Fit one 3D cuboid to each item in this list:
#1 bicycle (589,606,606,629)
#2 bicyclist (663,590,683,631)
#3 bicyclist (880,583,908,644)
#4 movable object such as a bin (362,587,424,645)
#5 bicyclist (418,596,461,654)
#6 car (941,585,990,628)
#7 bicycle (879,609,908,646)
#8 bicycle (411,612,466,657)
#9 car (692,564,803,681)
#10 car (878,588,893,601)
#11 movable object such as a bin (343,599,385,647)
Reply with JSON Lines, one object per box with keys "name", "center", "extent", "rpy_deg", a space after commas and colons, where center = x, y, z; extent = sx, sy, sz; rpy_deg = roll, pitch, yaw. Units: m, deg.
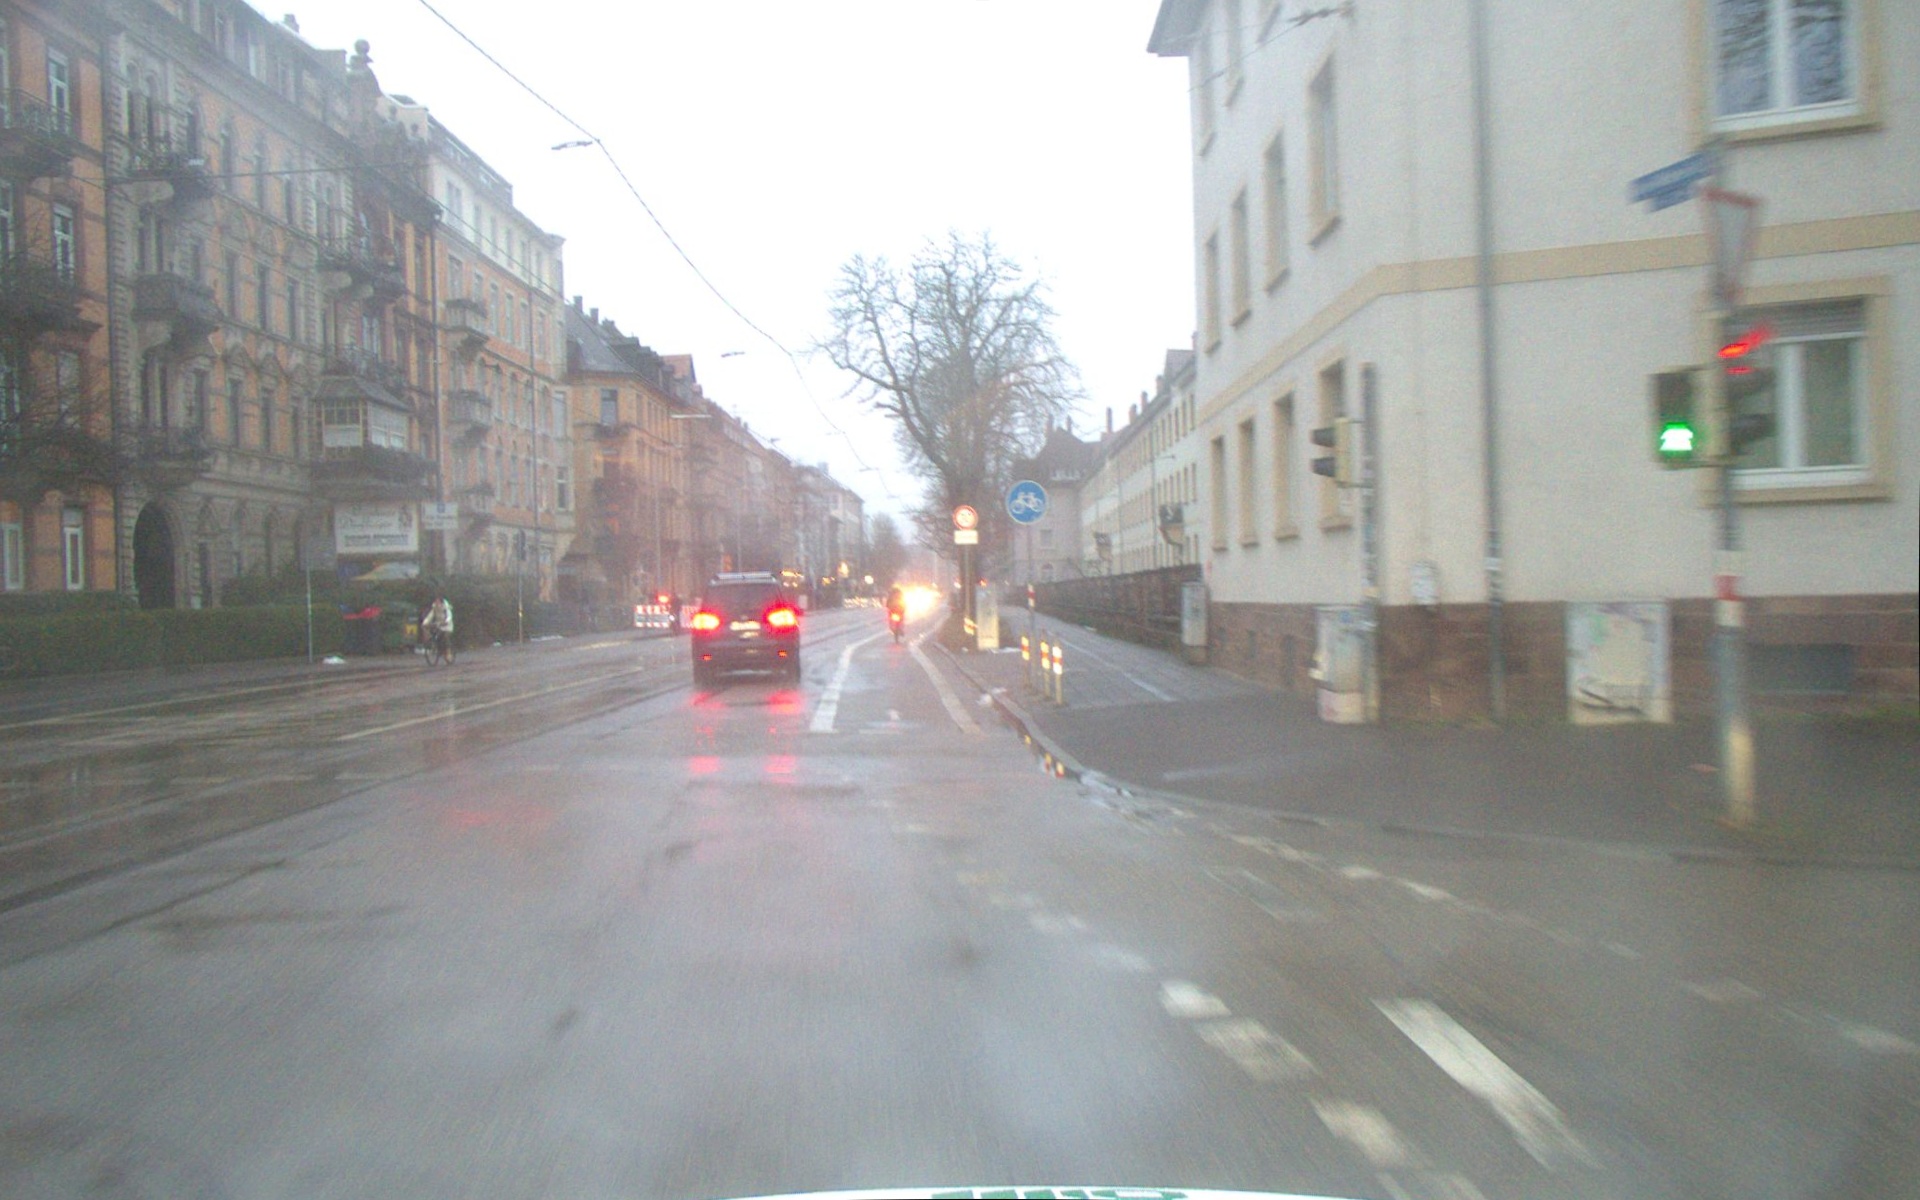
{"name": "bicycle", "center": [-15.280, 0.727, 69.718], "extent": [0.258, 0.931, 1.685], "rpy_deg": [4, 1, 0]}
{"name": "bicyclist", "center": [-11.777, 0.437, 67.891], "extent": [0.669, 1.644, 0.766], "rpy_deg": [-1, 0, 1]}
{"name": "bicyclist", "center": [-1.941, 0.381, 48.584], "extent": [0.715, 1.767, 0.766], "rpy_deg": [-1, 0, 1]}
{"name": "movable object such as a bin", "center": [-16.109, 0.448, 47.047], "extent": [1.218, 1.613, 1.308], "rpy_deg": [-1, 0, 5]}
{"name": "bicyclist", "center": [-12.585, 0.590, 39.995], "extent": [0.690, 1.388, 0.944], "rpy_deg": [0, 0, 3]}
{"name": "car", "center": [0.181, 0.223, 62.637], "extent": [1.749, 1.536, 3.987], "rpy_deg": [-2, 0, 0]}
{"name": "bicycle", "center": [-1.934, 0.808, 48.542], "extent": [0.716, 1.024, 1.764], "rpy_deg": [-1, 0, 1]}
{"name": "bicycle", "center": [-12.579, 0.830, 39.939], "extent": [0.667, 1.024, 1.804], "rpy_deg": [-1, 0, 3]}
{"name": "car", "center": [-3.774, 0.355, 29.128], "extent": [1.768, 1.903, 4.010], "rpy_deg": [1, 0, -8]}
{"name": "car", "center": [-10.303, -0.762, 229.641], "extent": [1.884, 1.750, 4.000], "rpy_deg": [-2, 0, 0]}
{"name": "movable object such as a bin", "center": [-16.602, 0.634, 46.109], "extent": [0.877, 1.315, 0.746], "rpy_deg": [-1, 0, -2]}
